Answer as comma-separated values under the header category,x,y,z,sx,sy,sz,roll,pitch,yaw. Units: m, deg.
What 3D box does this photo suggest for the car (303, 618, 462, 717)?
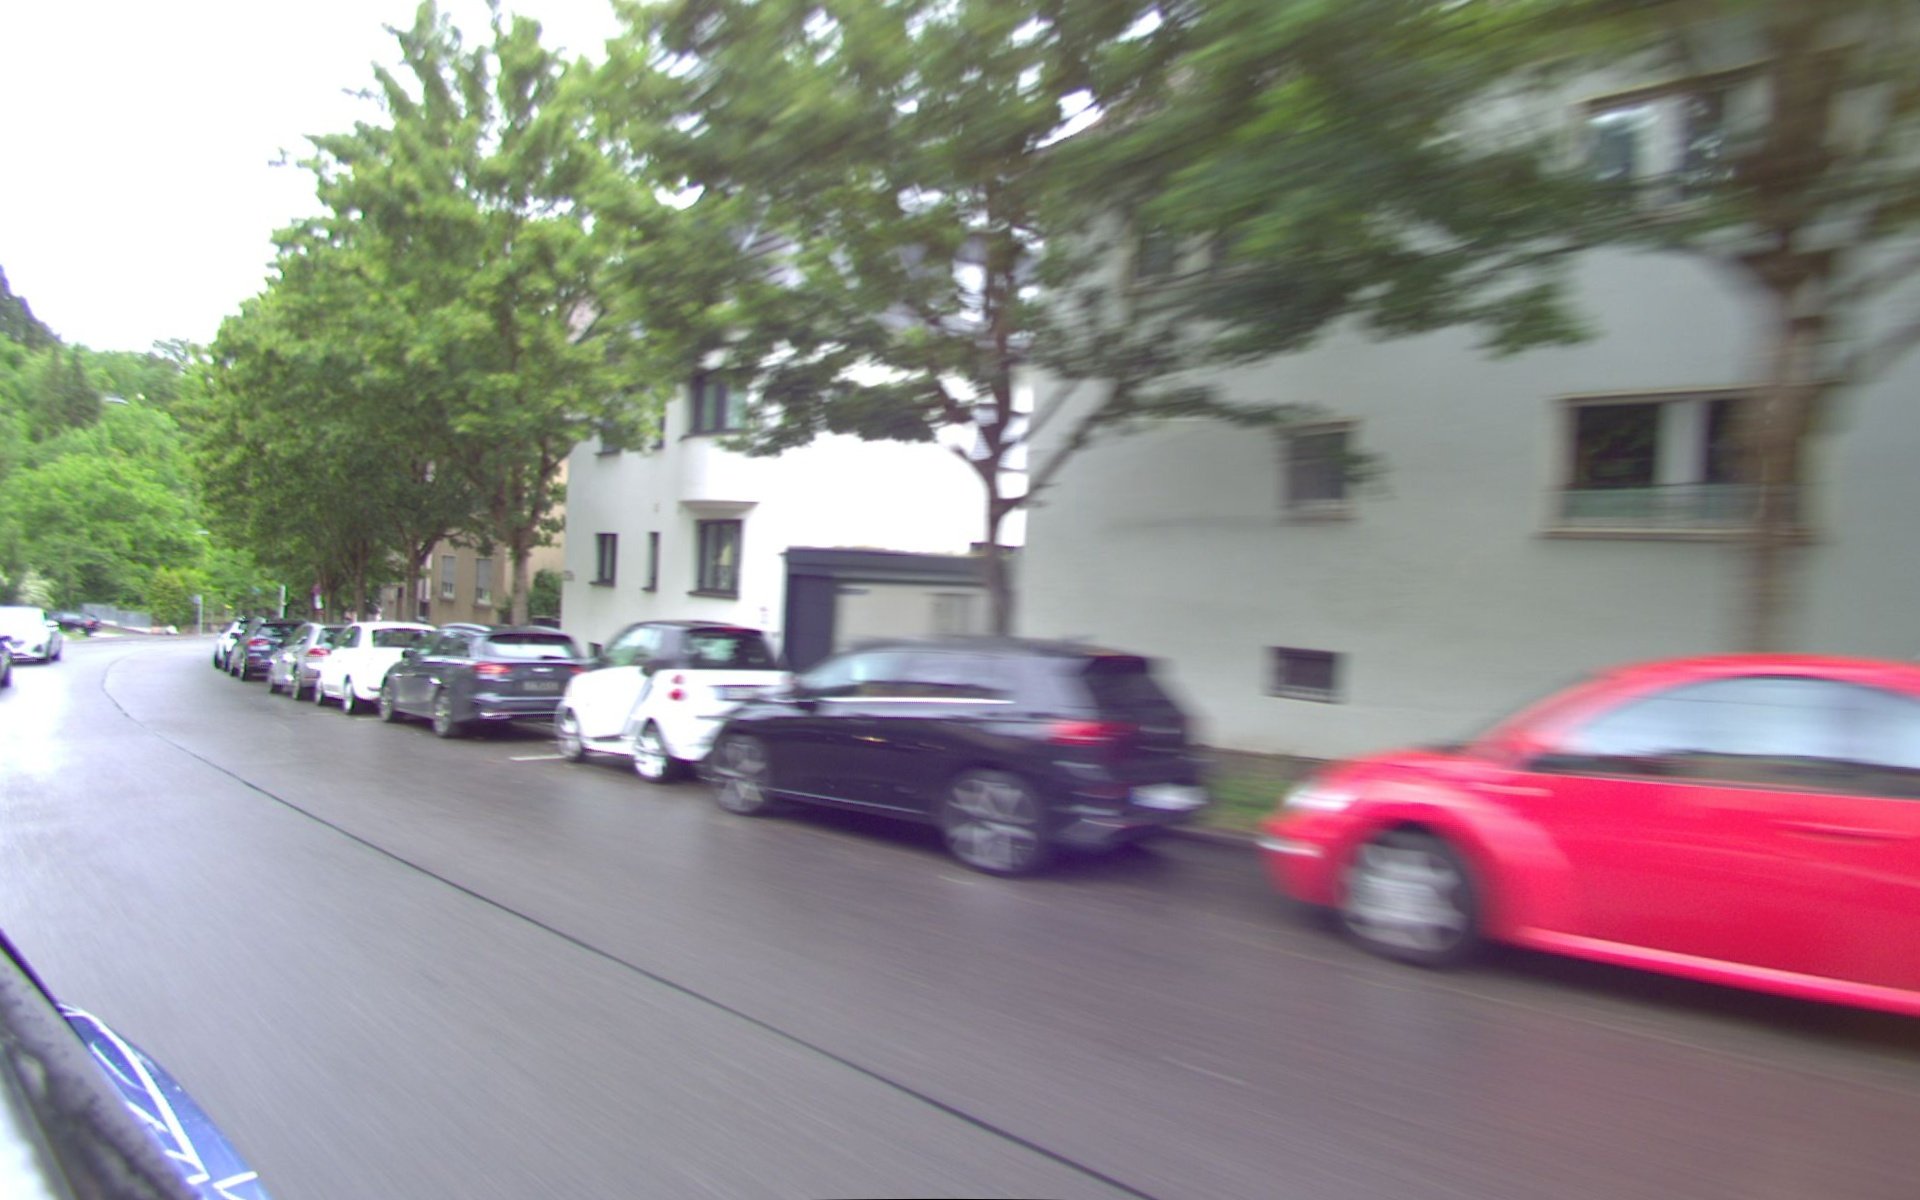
category,x,y,z,sx,sy,sz,roll,pitch,yaw
car,-9.937,1.127,17.319,1.555,1.500,3.474,7,-6,-42

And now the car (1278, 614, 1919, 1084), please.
category,x,y,z,sx,sy,sz,roll,pitch,yaw
car,3.581,0.952,4.396,3.843,1.576,1.617,1,-4,38

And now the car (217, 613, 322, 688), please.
category,x,y,z,sx,sy,sz,roll,pitch,yaw
car,-17.556,1.248,25.659,1.598,1.671,3.929,7,-5,-41

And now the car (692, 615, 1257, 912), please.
category,x,y,z,sx,sy,sz,roll,pitch,yaw
car,-0.127,0.945,7.335,4.099,1.500,1.538,0,-5,44

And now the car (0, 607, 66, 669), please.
category,x,y,z,sx,sy,sz,roll,pitch,yaw
car,-27.720,1.073,29.553,1.981,1.674,4.455,4,-3,-37

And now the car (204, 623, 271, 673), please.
category,x,y,z,sx,sy,sz,roll,pitch,yaw
car,-24.282,1.585,34.117,1.596,1.482,3.678,8,-6,-34

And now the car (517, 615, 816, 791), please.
category,x,y,z,sx,sy,sz,roll,pitch,yaw
car,-3.215,1.003,10.771,1.537,1.522,3.386,7,-5,-44

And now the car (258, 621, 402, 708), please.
category,x,y,z,sx,sy,sz,roll,pitch,yaw
car,-12.562,1.240,20.069,1.598,1.481,3.976,7,-4,-43

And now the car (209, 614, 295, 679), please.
category,x,y,z,sx,sy,sz,roll,pitch,yaw
car,-20.993,1.354,29.947,1.572,1.671,3.930,9,-6,-39

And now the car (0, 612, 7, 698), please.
category,x,y,z,sx,sy,sz,roll,pitch,yaw
car,-18.851,0.935,18.440,4.016,1.500,1.783,-1,-4,42

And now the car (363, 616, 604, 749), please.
category,x,y,z,sx,sy,sz,roll,pitch,yaw
car,-6.738,1.062,14.048,1.644,1.500,4.480,7,-5,-42
